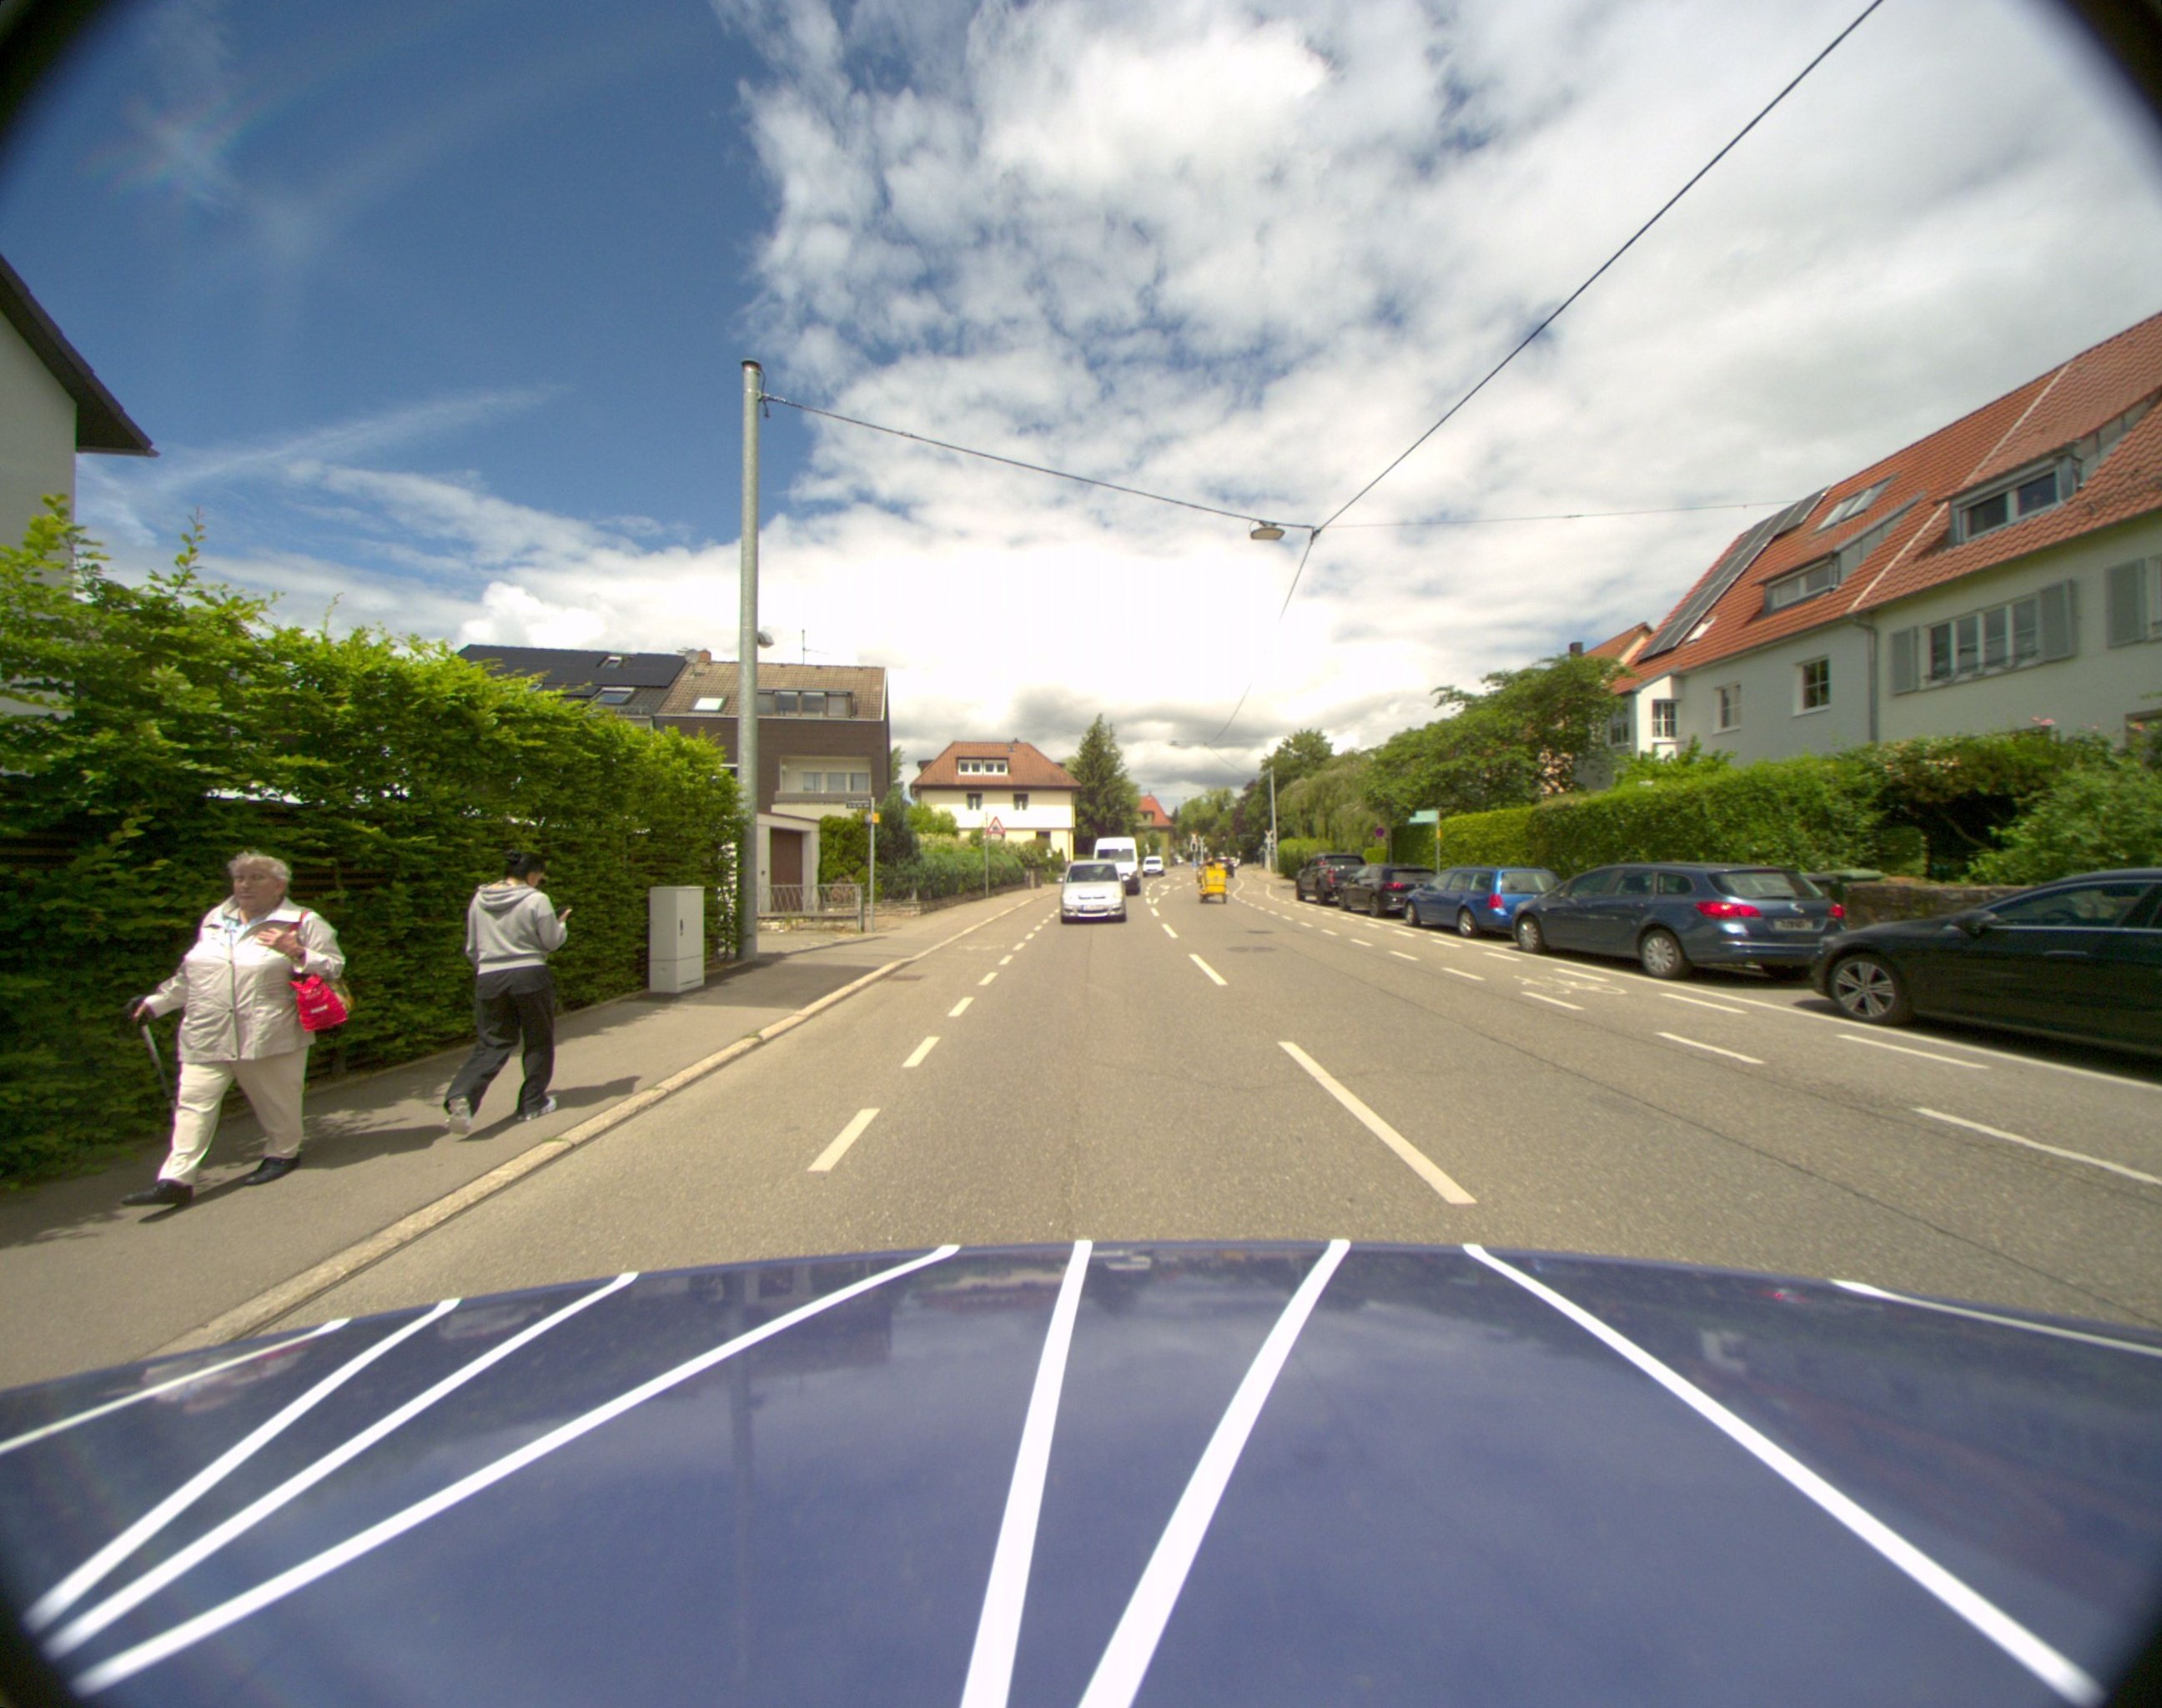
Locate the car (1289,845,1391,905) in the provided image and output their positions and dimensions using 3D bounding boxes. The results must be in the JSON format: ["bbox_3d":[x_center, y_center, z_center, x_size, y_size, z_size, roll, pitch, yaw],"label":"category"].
[{"bbox_3d":[8.960,0.655,26.813,1.998,1.884,5.404,1,0,3],"label":"car"}]

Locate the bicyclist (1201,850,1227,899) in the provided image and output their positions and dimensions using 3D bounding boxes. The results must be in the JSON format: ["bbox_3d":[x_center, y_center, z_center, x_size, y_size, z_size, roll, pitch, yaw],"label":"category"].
[{"bbox_3d":[4.771,0.719,27.238,0.794,1.703,1.209,-1,0,5],"label":"bicyclist"}]

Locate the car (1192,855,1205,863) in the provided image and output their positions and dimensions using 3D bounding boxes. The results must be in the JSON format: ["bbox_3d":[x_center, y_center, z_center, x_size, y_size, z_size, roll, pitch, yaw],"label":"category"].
[{"bbox_3d":[21.754,0.920,140.815,1.997,1.419,4.003,-3,0,13],"label":"car"}]

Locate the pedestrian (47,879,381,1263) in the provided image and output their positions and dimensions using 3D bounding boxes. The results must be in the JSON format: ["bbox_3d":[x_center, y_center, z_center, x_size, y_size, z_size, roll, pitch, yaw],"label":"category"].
[{"bbox_3d":[-3.985,0.935,3.555,0.801,1.608,0.653,0,1,1],"label":"pedestrian"}]

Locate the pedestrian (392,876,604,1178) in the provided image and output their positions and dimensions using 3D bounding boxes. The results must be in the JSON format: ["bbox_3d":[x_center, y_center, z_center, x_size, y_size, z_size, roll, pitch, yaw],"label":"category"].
[{"bbox_3d":[-3.405,0.946,4.510,0.604,1.596,0.836,1,1,1],"label":"pedestrian"}]

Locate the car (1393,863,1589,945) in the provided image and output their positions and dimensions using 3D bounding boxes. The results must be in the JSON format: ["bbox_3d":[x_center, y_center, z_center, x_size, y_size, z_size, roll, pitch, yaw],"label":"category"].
[{"bbox_3d":[8.361,0.937,16.030,1.782,1.409,4.440,-1,0,1],"label":"car"}]

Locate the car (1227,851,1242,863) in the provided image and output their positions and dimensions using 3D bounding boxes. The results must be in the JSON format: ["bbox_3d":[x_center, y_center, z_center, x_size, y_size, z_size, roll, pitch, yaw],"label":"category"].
[{"bbox_3d":[21.342,0.464,105.765,1.850,1.565,4.162,-2,0,10],"label":"car"}]

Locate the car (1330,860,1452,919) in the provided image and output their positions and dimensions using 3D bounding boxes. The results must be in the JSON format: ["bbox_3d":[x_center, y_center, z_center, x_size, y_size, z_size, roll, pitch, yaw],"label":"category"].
[{"bbox_3d":[8.521,0.907,21.303,1.782,1.409,4.340,-1,0,2],"label":"car"}]

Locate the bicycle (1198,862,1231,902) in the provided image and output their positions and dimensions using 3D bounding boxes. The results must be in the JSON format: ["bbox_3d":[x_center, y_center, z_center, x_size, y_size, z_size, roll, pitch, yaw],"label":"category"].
[{"bbox_3d":[4.751,0.970,27.202,0.865,1.294,2.662,-1,0,4],"label":"bicycle"}]

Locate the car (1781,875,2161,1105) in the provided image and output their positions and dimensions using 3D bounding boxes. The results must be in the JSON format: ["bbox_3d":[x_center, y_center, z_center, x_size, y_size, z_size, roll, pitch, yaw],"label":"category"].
[{"bbox_3d":[8.128,0.937,5.462,1.998,1.400,4.690,-1,0,2],"label":"car"}]

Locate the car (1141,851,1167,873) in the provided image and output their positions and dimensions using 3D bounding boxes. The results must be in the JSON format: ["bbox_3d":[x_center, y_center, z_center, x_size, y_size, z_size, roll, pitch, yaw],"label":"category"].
[{"bbox_3d":[6.580,0.707,68.105,1.931,1.771,4.003,-3,0,11],"label":"car"}]

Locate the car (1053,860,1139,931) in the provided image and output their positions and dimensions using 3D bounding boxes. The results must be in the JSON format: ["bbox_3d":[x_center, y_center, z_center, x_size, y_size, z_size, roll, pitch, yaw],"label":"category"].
[{"bbox_3d":[0.502,0.989,19.881,1.707,1.531,4.333,-3,0,8],"label":"car"}]

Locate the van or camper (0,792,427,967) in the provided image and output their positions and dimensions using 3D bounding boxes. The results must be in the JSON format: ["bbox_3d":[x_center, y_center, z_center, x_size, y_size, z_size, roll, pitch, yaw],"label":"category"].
[{"bbox_3d":[-20.167,0.495,16.386,8.693,3.283,2.414,-3,1,-23],"label":"van or camper"}]

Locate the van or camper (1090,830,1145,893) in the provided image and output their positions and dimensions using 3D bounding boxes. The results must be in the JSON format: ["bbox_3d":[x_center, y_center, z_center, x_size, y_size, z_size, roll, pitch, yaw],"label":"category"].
[{"bbox_3d":[1.784,0.353,34.869,2.029,2.564,5.926,-3,-1,6],"label":"van or camper"}]

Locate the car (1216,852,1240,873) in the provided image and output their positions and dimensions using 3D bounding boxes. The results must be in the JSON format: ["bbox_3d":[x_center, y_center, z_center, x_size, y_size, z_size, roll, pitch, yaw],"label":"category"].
[{"bbox_3d":[12.396,0.678,64.171,1.919,1.639,4.297,3,1,10],"label":"car"}]

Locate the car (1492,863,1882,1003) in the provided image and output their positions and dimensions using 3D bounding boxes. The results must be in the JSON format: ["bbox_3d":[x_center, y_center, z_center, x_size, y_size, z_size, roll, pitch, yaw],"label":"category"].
[{"bbox_3d":[8.052,0.913,10.811,1.782,1.483,4.564,-1,0,-2],"label":"car"}]
